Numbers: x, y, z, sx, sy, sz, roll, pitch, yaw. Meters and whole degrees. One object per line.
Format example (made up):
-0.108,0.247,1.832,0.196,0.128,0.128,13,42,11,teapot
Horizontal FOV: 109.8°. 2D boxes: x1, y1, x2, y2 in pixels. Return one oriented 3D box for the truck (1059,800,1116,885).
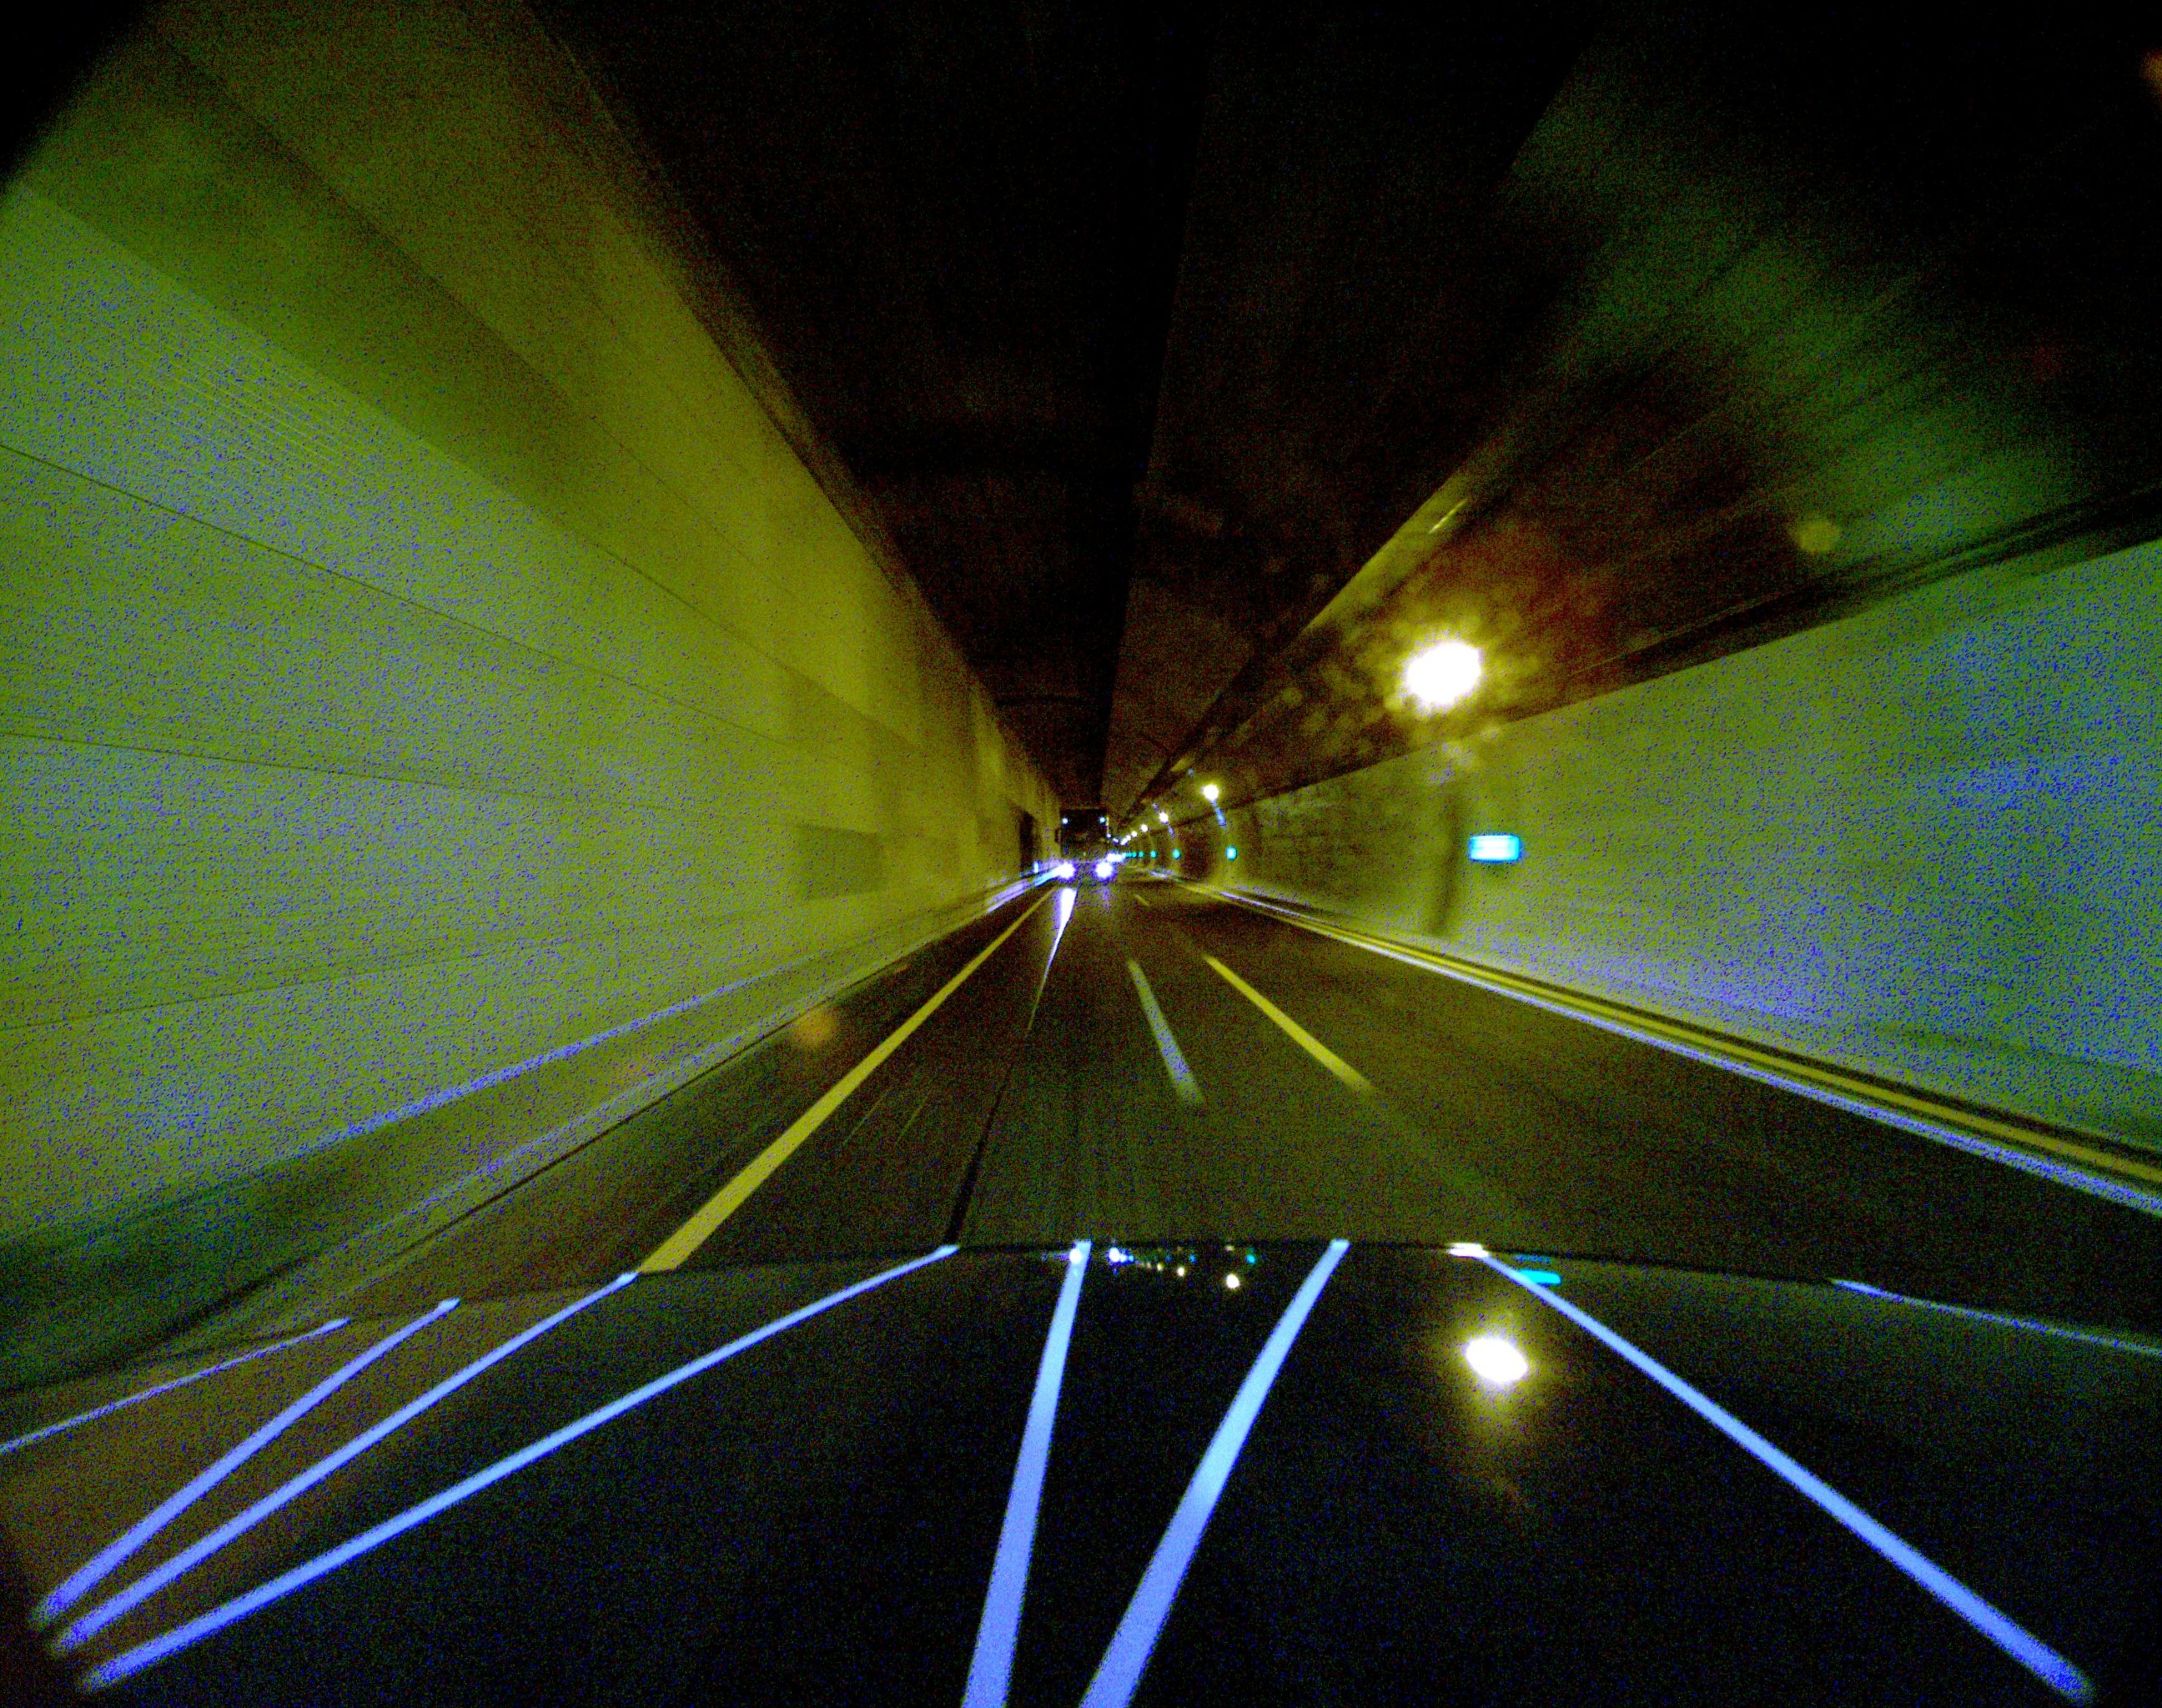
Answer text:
0.361,-0.604,41.701,2.769,4.198,7.976,-1,1,1,truck
